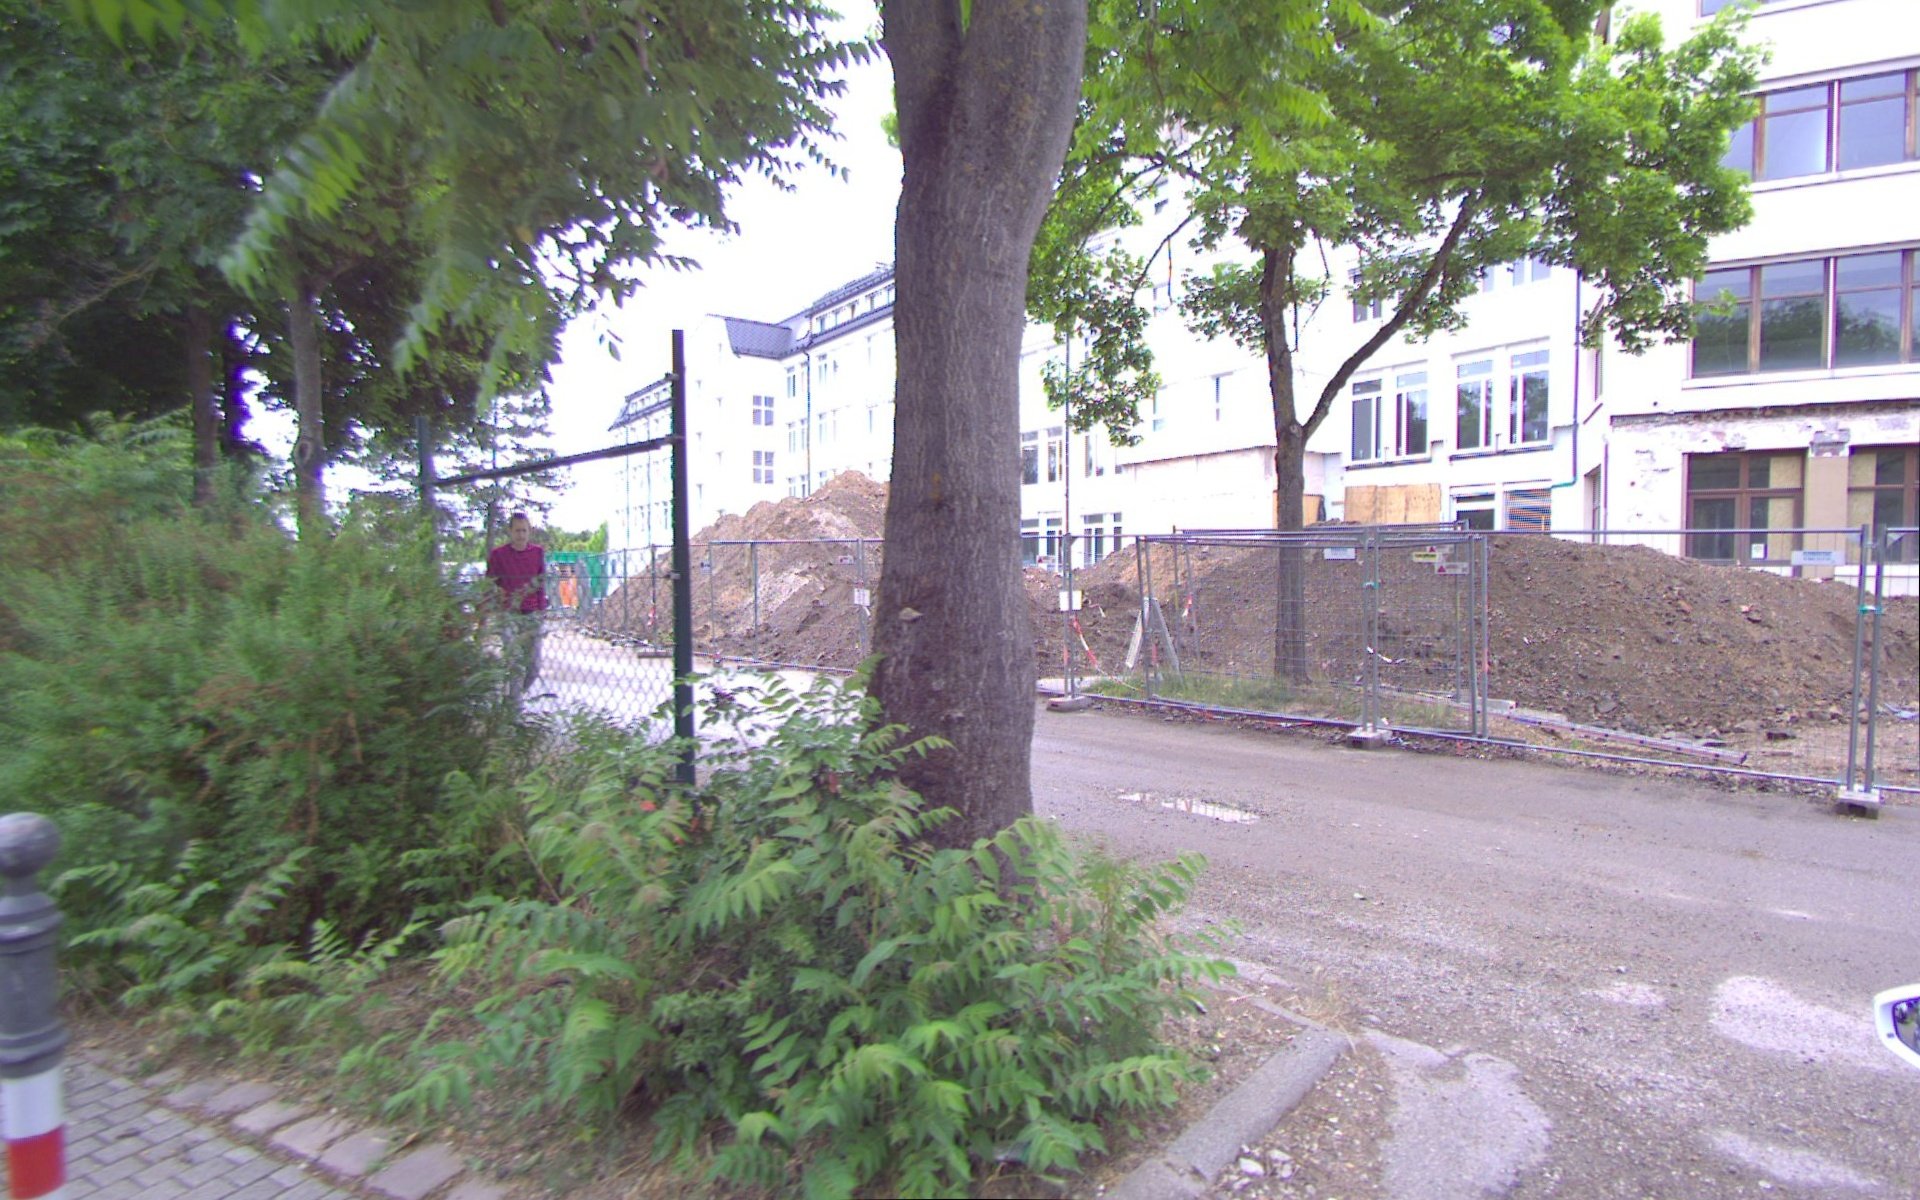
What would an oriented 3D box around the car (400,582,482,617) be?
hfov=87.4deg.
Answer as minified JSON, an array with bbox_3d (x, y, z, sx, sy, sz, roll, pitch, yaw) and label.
[{"bbox_3d":[-28.555,-0.064,55.274,3.951,1.862,1.984,0,1,-29],"label":"car"}]

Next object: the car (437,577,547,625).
[{"bbox_3d":[-19.009,0.010,40.831,3.951,1.862,1.984,0,1,-29],"label":"car"}]

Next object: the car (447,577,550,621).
[{"bbox_3d":[-20.103,-0.051,43.755,3.951,1.862,1.984,0,1,-29],"label":"car"}]

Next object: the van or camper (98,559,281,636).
[{"bbox_3d":[-24.160,-0.094,31.731,4.458,2.288,1.979,0,1,-36],"label":"van or camper"}]

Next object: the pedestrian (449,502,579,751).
[{"bbox_3d":[-4.063,0.214,9.125,0.788,2.092,1.187,0,1,-40],"label":"pedestrian"}]

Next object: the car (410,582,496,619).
[{"bbox_3d":[-26.348,0.018,52.229,3.951,1.862,1.984,0,1,-29],"label":"car"}]

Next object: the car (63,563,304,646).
[{"bbox_3d":[-16.556,0.073,21.556,1.726,1.596,3.866,2,1,42],"label":"car"}]
